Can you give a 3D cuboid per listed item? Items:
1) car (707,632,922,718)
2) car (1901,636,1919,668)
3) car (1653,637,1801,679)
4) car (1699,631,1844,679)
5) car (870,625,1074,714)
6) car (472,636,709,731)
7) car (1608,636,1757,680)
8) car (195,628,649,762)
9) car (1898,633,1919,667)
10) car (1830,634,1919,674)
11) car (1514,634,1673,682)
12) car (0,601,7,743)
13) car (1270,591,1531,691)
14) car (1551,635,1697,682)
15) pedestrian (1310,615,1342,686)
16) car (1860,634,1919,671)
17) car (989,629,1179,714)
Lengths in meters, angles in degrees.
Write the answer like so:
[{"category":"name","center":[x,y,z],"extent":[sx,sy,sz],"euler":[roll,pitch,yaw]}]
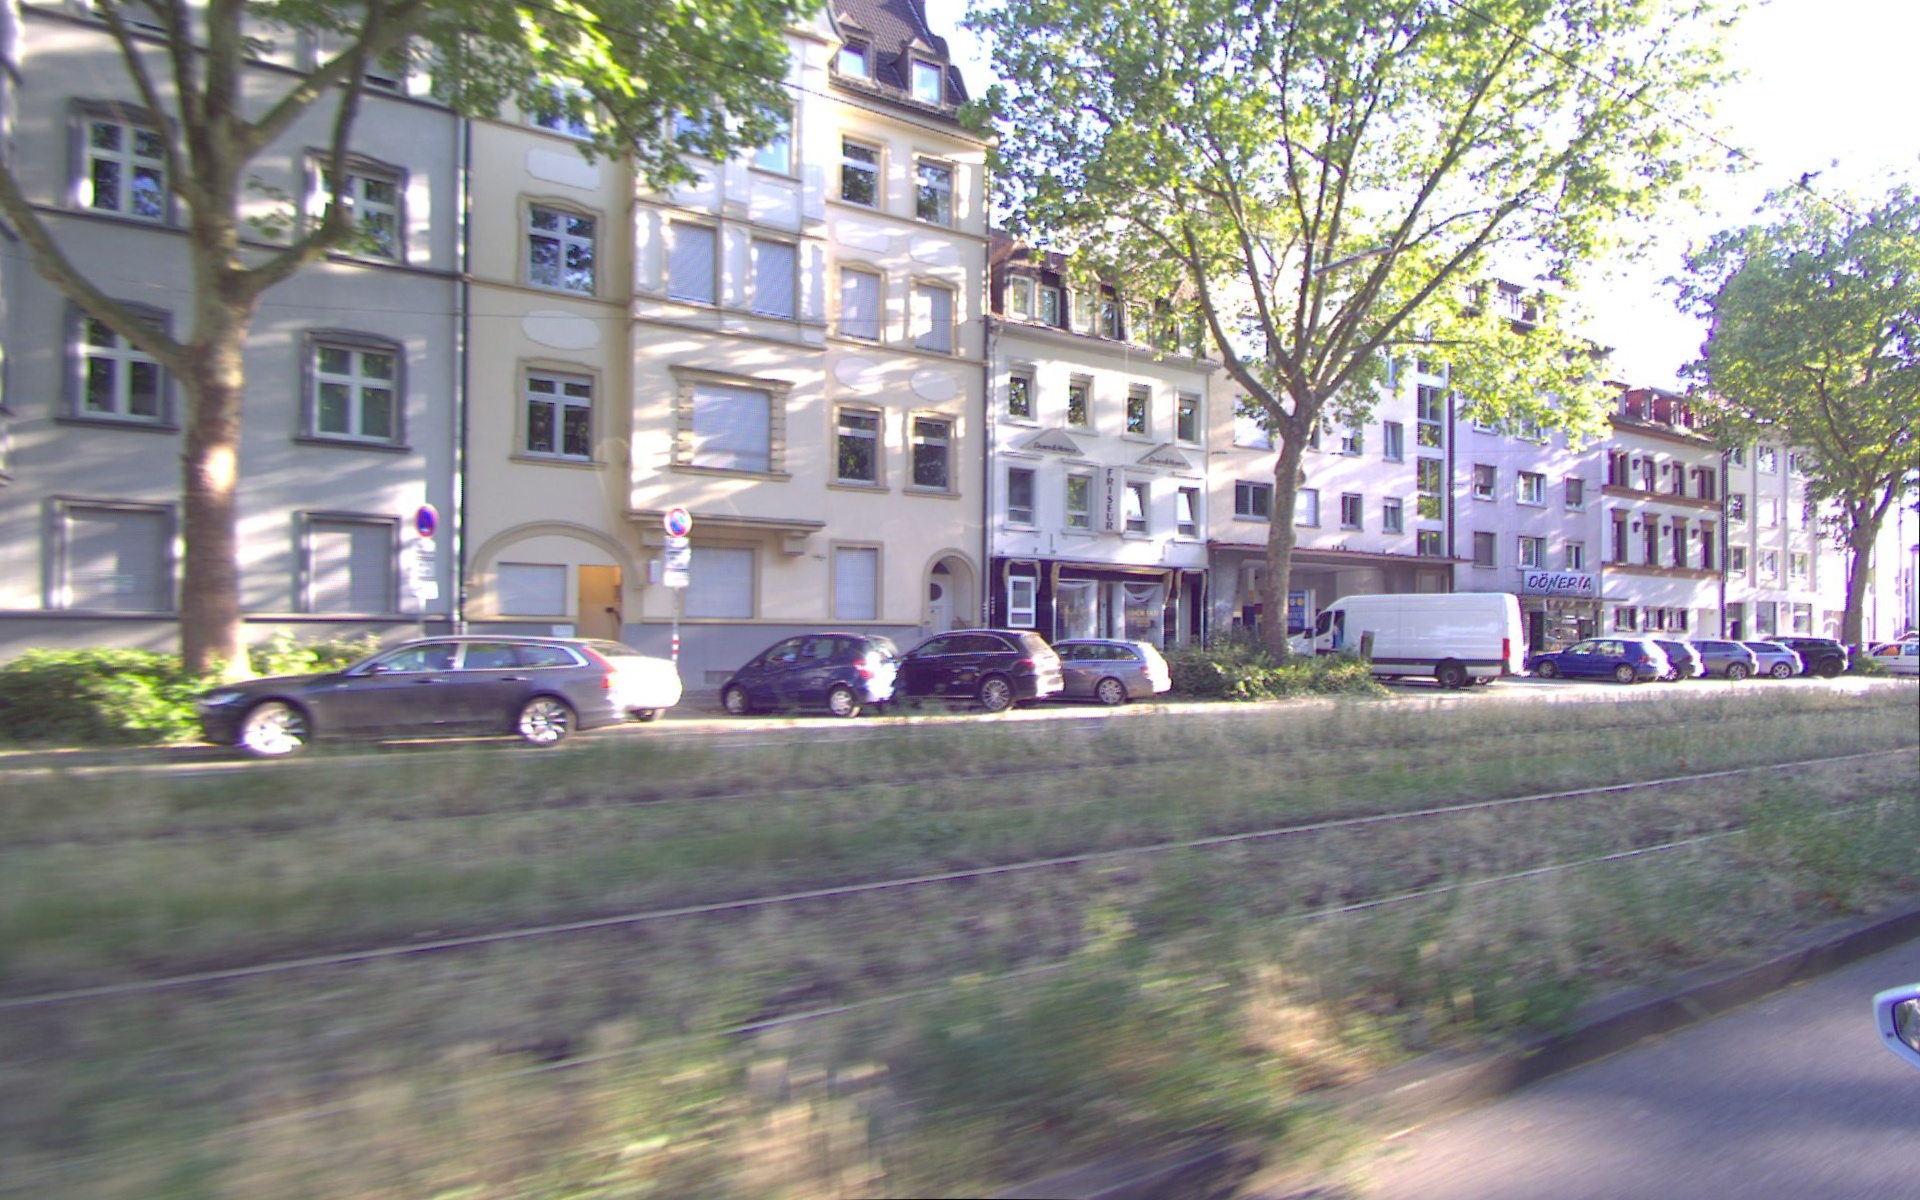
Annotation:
[{"category":"car","center":[-2.931,1.487,20.090],"extent":[3.928,1.573,1.853],"euler":[-3,-3,29]},{"category":"car","center":[53.696,2.843,53.926],"extent":[4.227,1.760,1.859],"euler":[1,-2,20]},{"category":"car","center":[30.049,2.237,39.510],"extent":[4.227,1.477,1.859],"euler":[1,-2,20]},{"category":"car","center":[33.075,2.218,41.072],"extent":[4.227,1.760,1.859],"euler":[1,-2,20]},{"category":"car","center":[0.240,1.446,21.244],"extent":[3.928,1.721,1.854],"euler":[-2,-3,29]},{"category":"car","center":[-6.321,1.354,17.117],"extent":[3.927,1.374,1.584],"euler":[0,-2,29]},{"category":"car","center":[27.253,2.167,38.056],"extent":[4.227,1.477,1.859],"euler":[1,-2,20]},{"category":"car","center":[-6.709,1.167,13.082],"extent":[4.861,1.479,1.740],"euler":[2,-2,-26]},{"category":"car","center":[51.806,2.629,52.106],"extent":[4.227,1.760,1.859],"euler":[1,-2,20]},{"category":"car","center":[43.562,2.509,46.735],"extent":[4.227,1.760,1.859],"euler":[1,-2,20]},{"category":"car","center":[21.693,1.964,34.533],"extent":[1.840,1.477,4.270],"euler":[3,-2,-35]},{"category":"car","center":[-14.933,0.906,12.962],"extent":[3.919,1.906,2.001],"euler":[1,-2,15]},{"category":"car","center":[13.033,1.161,30.127],"extent":[6.855,2.713,2.176],"euler":[0,-2,40]},{"category":"car","center":[23.782,2.063,36.029],"extent":[4.245,1.477,1.851],"euler":[0,-2,38]},{"category":"pedestrian","center":[10.605,1.455,29.109],"extent":[0.623,2.040,0.635],"euler":[1,-2,-29]},{"category":"car","center":[46.765,2.574,48.720],"extent":[4.227,1.760,1.859],"euler":[1,-2,20]},{"category":"car","center":[2.829,1.566,22.786],"extent":[3.922,1.721,1.856],"euler":[1,-2,22]}]
